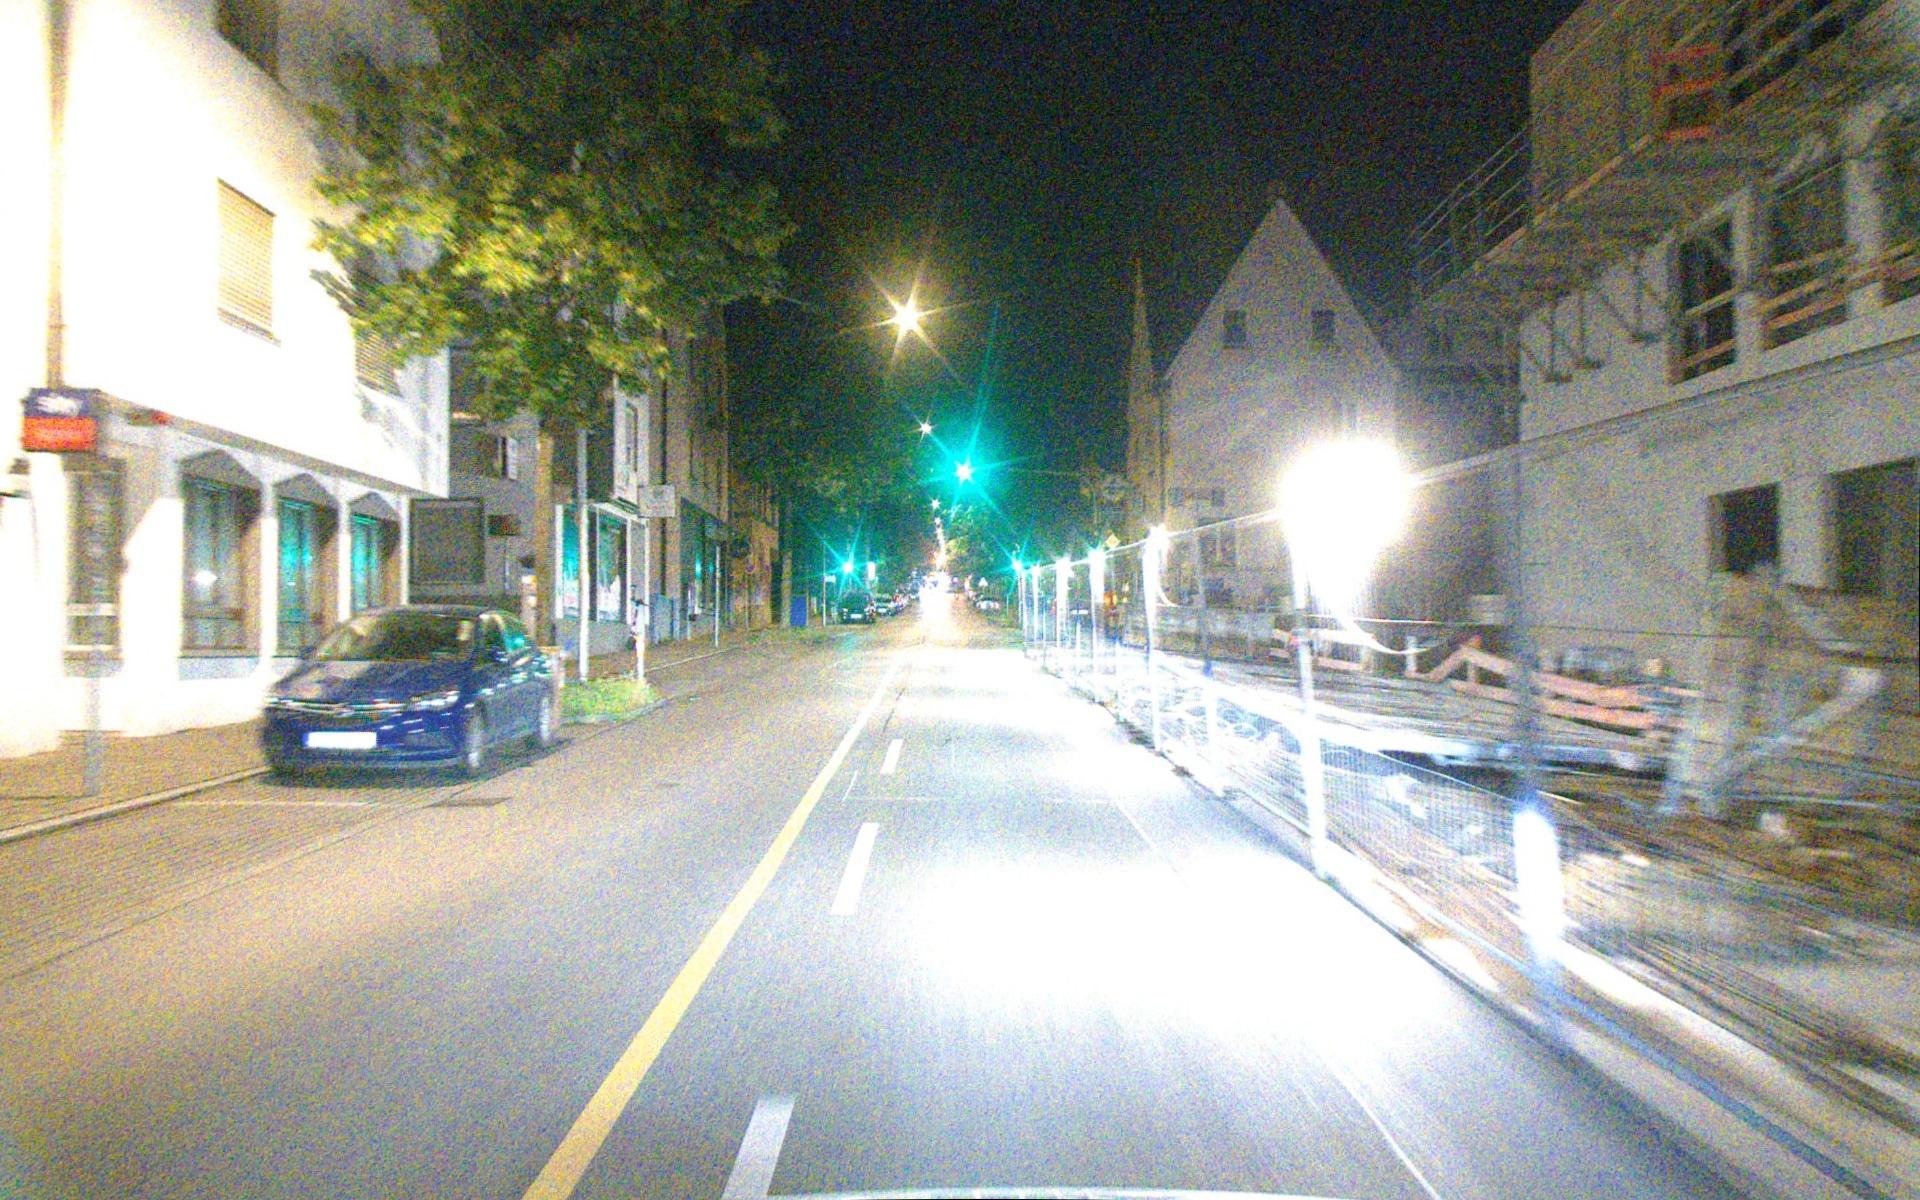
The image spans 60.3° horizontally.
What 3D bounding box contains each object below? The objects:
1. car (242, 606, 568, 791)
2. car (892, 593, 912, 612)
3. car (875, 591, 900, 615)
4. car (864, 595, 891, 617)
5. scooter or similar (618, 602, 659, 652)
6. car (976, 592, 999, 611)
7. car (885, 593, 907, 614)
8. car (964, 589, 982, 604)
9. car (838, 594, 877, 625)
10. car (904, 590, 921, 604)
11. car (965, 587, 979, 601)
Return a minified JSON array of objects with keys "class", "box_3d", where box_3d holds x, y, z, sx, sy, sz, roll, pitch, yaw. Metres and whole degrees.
[{"class":"car","box_3d":[-4.941,0.795,15.343,1.637,1.469,4.204,0,0,-1]},{"class":"car","box_3d":[-5.884,0.230,167.050,1.835,1.846,4.205,0,0,0]},{"class":"car","box_3d":[-5.742,0.222,130.950,1.835,1.846,4.204,0,0,-1]},{"class":"car","box_3d":[-6.196,0.454,124.518,1.835,1.571,4.204,0,0,-1]},{"class":"scooter or similar","box_3d":[-7.996,0.691,41.222,0.517,1.185,2.506,-2,-2,-1]},{"class":"car","box_3d":[2.279,0.111,137.914,1.835,1.571,4.204,0,0,-1]},{"class":"car","box_3d":[-5.794,0.282,149.096,1.835,1.846,4.204,0,0,-1]},{"class":"car","box_3d":[1.372,-0.325,176.856,1.835,1.571,4.204,0,0,-1]},{"class":"car","box_3d":[-5.368,0.512,87.344,1.835,1.571,4.204,0,0,-1]},{"class":"car","box_3d":[-6.204,-0.367,215.277,2.034,1.846,4.205,0,0,0]},{"class":"car","box_3d":[1.587,-0.792,225.422,1.835,1.940,4.204,0,0,-1]}]
